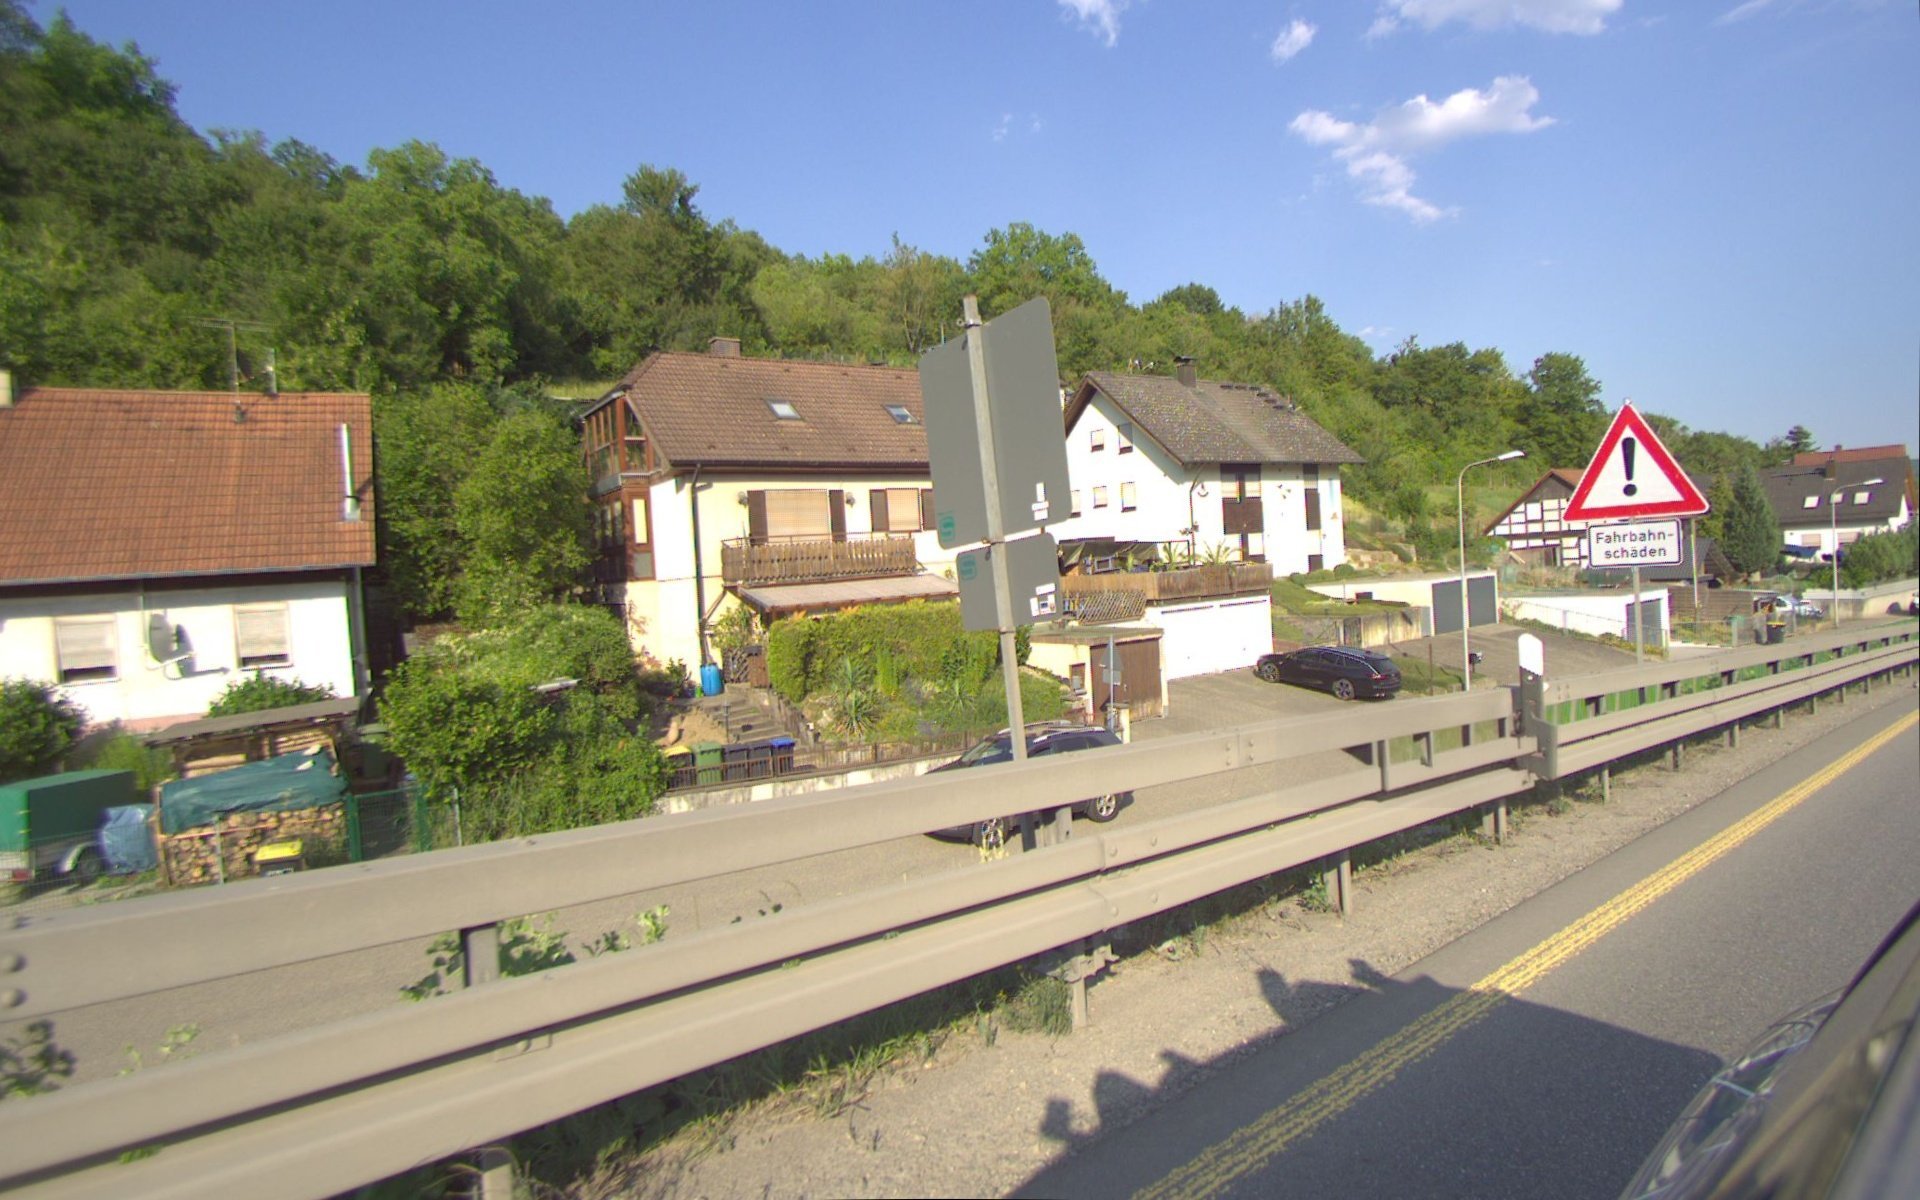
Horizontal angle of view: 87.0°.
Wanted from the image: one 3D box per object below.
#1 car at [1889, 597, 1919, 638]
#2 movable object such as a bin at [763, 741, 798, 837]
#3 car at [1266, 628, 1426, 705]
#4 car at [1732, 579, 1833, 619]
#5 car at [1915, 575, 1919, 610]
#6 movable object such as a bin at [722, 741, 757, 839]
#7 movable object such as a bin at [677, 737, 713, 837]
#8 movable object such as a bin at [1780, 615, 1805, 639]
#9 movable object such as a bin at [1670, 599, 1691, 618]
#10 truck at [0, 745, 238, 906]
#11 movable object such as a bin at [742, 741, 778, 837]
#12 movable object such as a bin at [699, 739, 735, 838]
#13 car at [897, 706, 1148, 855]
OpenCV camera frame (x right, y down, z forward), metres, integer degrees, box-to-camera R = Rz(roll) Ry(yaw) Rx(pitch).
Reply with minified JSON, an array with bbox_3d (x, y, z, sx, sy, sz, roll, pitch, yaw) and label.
[{"bbox_3d":[48.439,0.890,50.777,3.546,1.620,1.772,8,-11,-33],"label":"car"},{"bbox_3d":[-3.538,3.711,19.928,0.406,1.794,0.491,-3,-7,-30],"label":"movable object such as a bin"},{"bbox_3d":[12.412,2.060,32.822,1.962,1.542,4.516,-3,9,-33],"label":"car"},{"bbox_3d":[45.364,-0.097,55.886,1.718,1.860,4.001,-3,5,-36],"label":"car"},{"bbox_3d":[56.648,-0.484,58.277,4.208,1.966,1.824,-3,2,-38],"label":"car"},{"bbox_3d":[-4.258,3.650,19.524,0.406,1.794,0.491,-3,-7,-30],"label":"movable object such as a bin"},{"bbox_3d":[-5.015,3.518,19.124,0.408,1.794,0.531,-3,-7,-30],"label":"movable object such as a bin"},{"bbox_3d":[37.099,1.200,45.107,0.665,1.013,0.724,-1,0,-37],"label":"movable object such as a bin"},{"bbox_3d":[35.829,0.415,50.338,0.667,0.912,0.688,-1,2,-39],"label":"movable object such as a bin"},{"bbox_3d":[-14.568,3.664,16.803,1.965,1.759,3.994,-6,-1,5],"label":"truck"},{"bbox_3d":[-3.897,3.669,19.713,0.406,1.794,0.491,-3,-7,-30],"label":"movable object such as a bin"},{"bbox_3d":[-4.638,3.584,19.320,0.400,1.794,0.537,-3,-7,-30],"label":"movable object such as a bin"},{"bbox_3d":[1.226,3.209,18.808,4.413,1.806,1.869,-3,3,-34],"label":"car"}]
